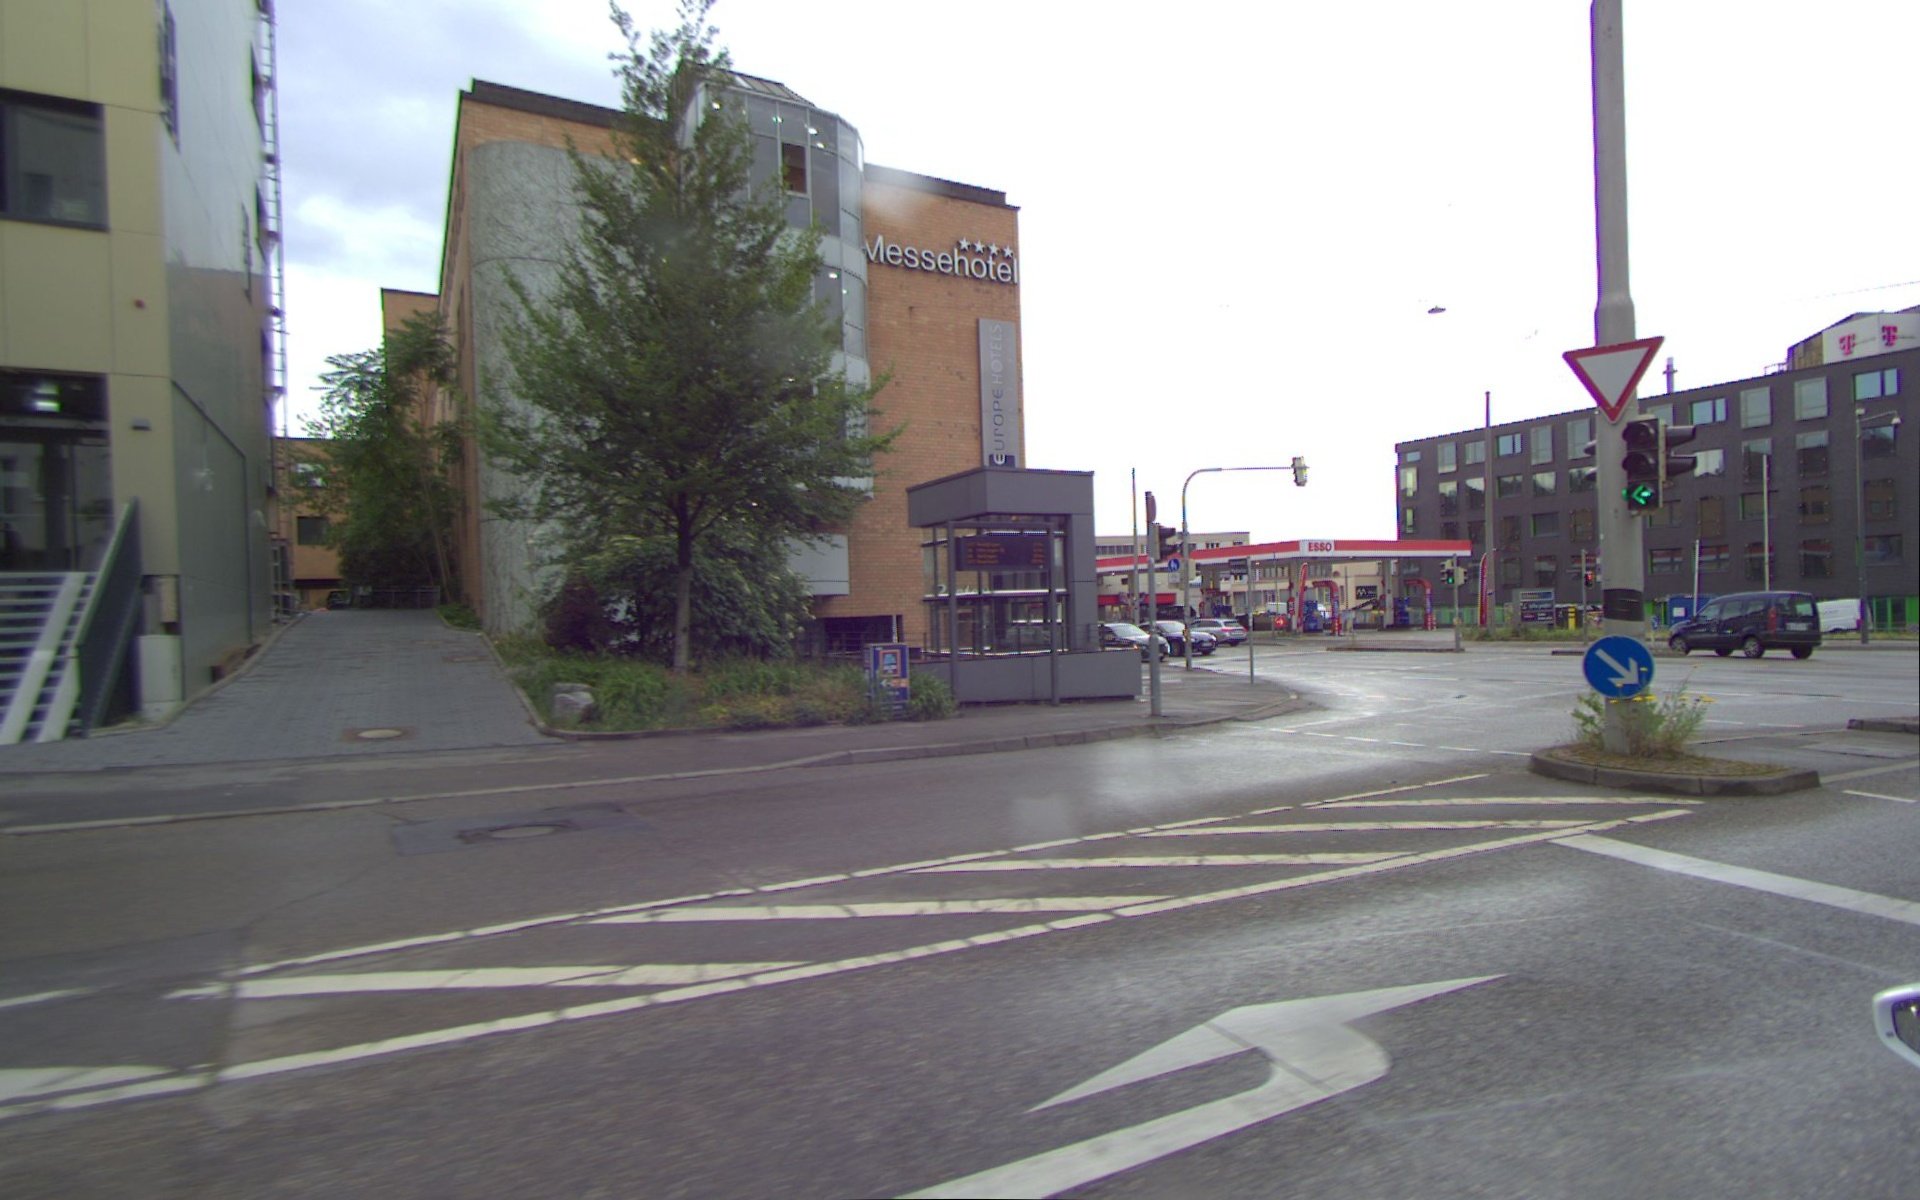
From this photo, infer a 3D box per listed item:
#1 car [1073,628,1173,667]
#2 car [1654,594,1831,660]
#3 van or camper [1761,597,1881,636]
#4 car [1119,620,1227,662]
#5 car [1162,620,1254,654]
[{"bbox_3d":[6.131,1.769,38.219,1.630,1.338,3.970,-2,0,-29],"label":"car"},{"bbox_3d":[22.555,0.763,29.178,1.822,1.792,4.130,0,-1,-2],"label":"car"},{"bbox_3d":[55.794,1.036,65.223,2.706,2.400,5.305,1,0,-29],"label":"van or camper"},{"bbox_3d":[8.593,1.644,40.865,1.942,1.545,4.229,-3,0,-30],"label":"car"},{"bbox_3d":[13.063,1.931,53.078,1.984,1.600,4.439,1,0,-40],"label":"car"}]
